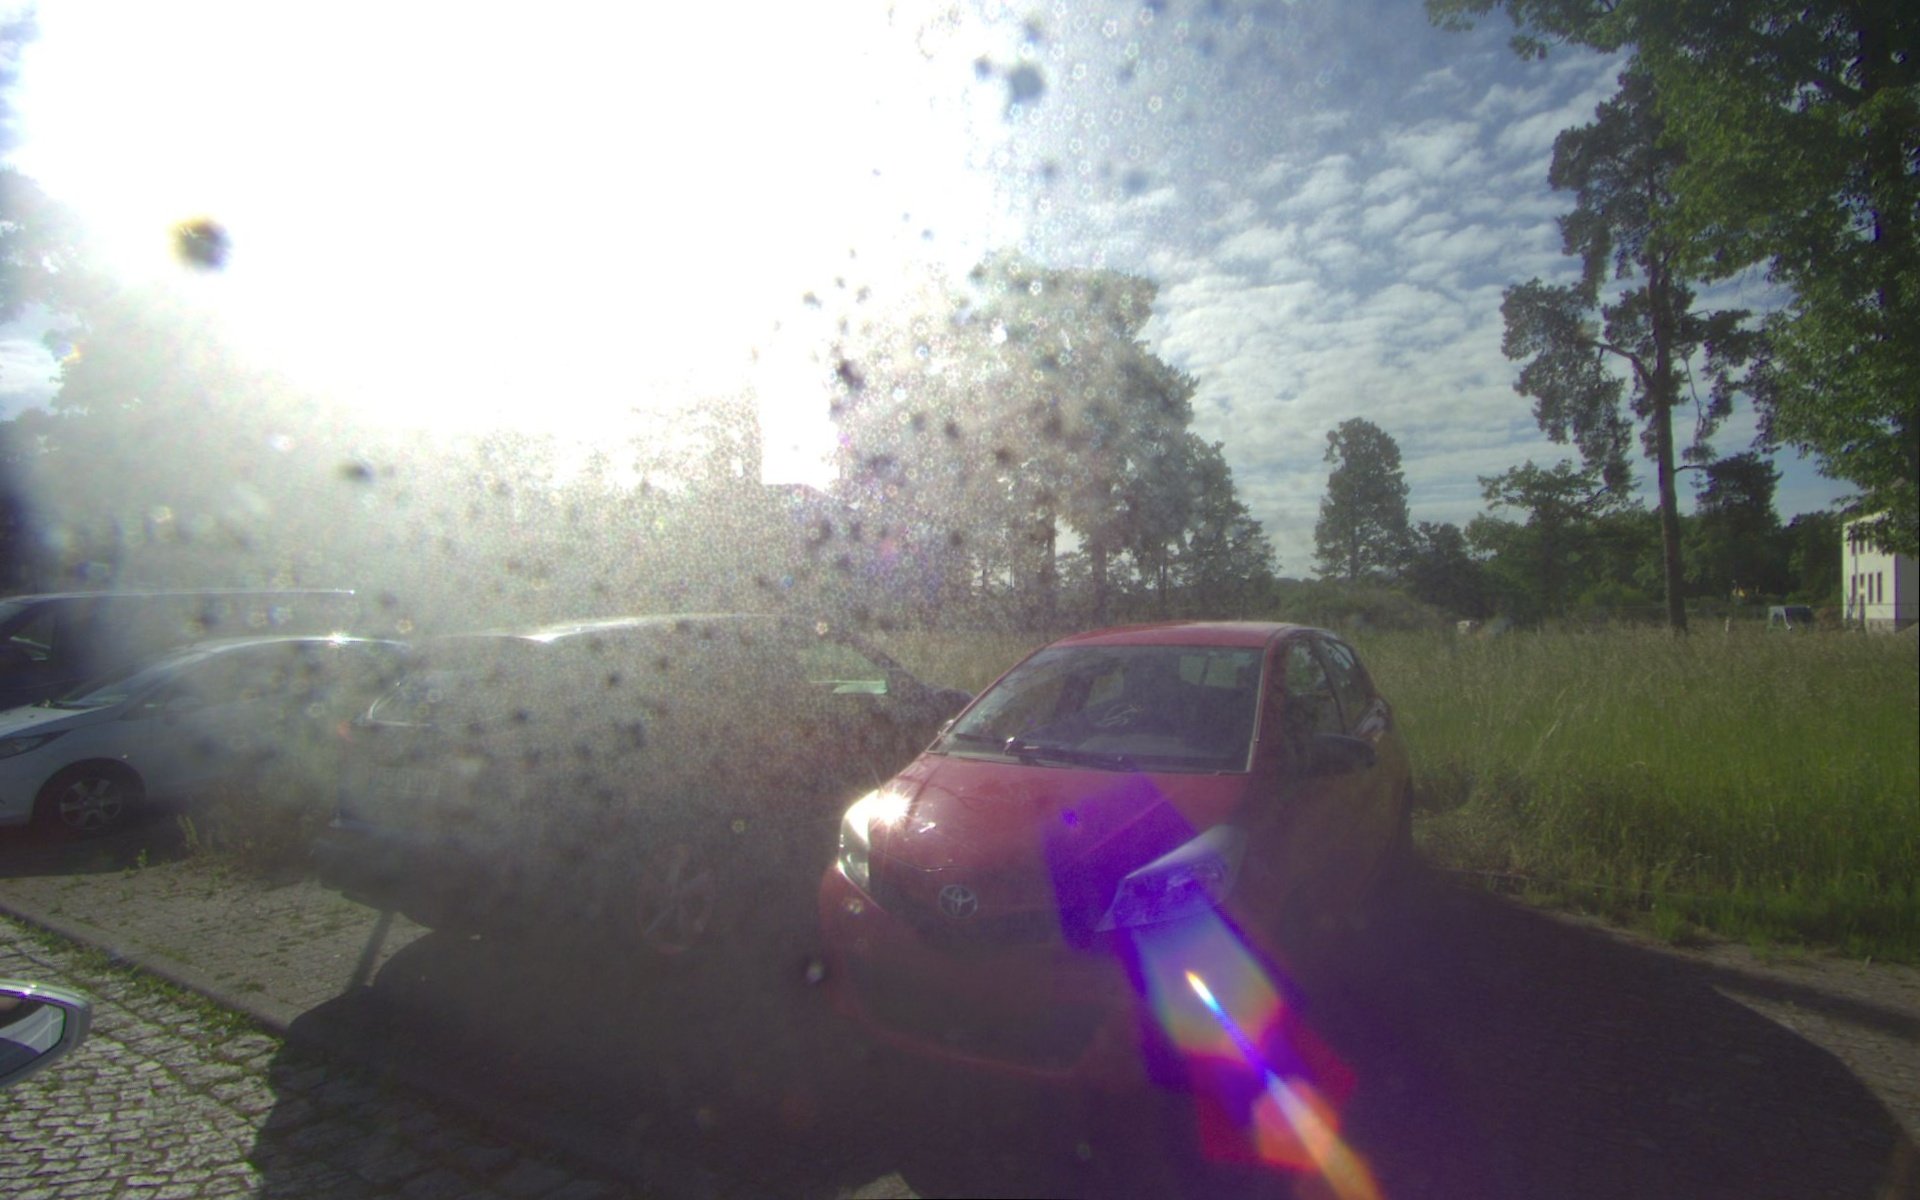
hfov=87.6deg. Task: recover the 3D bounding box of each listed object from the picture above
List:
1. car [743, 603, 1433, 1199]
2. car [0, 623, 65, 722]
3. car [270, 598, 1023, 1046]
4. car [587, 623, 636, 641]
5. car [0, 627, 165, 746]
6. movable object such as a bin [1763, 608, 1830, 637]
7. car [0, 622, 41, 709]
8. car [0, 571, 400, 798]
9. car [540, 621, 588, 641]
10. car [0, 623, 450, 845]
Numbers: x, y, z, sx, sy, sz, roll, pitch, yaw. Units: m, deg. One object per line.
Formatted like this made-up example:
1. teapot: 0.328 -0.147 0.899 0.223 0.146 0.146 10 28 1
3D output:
1. car: 0.987 0.817 4.589 1.679 1.559 3.817 -1 0 32
2. car: -15.796 1.125 14.593 1.733 1.470 3.771 -1 0 33
3. car: -1.345 0.833 5.872 1.760 1.632 4.101 -1 -1 30
4. car: -29.830 2.718 85.718 1.743 1.517 3.626 -1 -1 34
5. car: -13.149 1.145 13.376 1.611 1.511 3.637 -1 -1 32
6. movable object such as a bin: 60.721 1.613 72.788 2.087 2.040 5.723 -1 -1 22
7. car: -17.945 1.178 16.600 1.643 1.474 3.655 -1 1 32
8. car: -8.833 0.750 10.533 1.972 2.041 4.742 -1 1 32
9. car: -35.694 2.787 90.339 1.743 1.693 3.626 -1 -1 34
10. car: -6.784 1.007 8.922 1.586 1.486 3.714 -1 0 30
